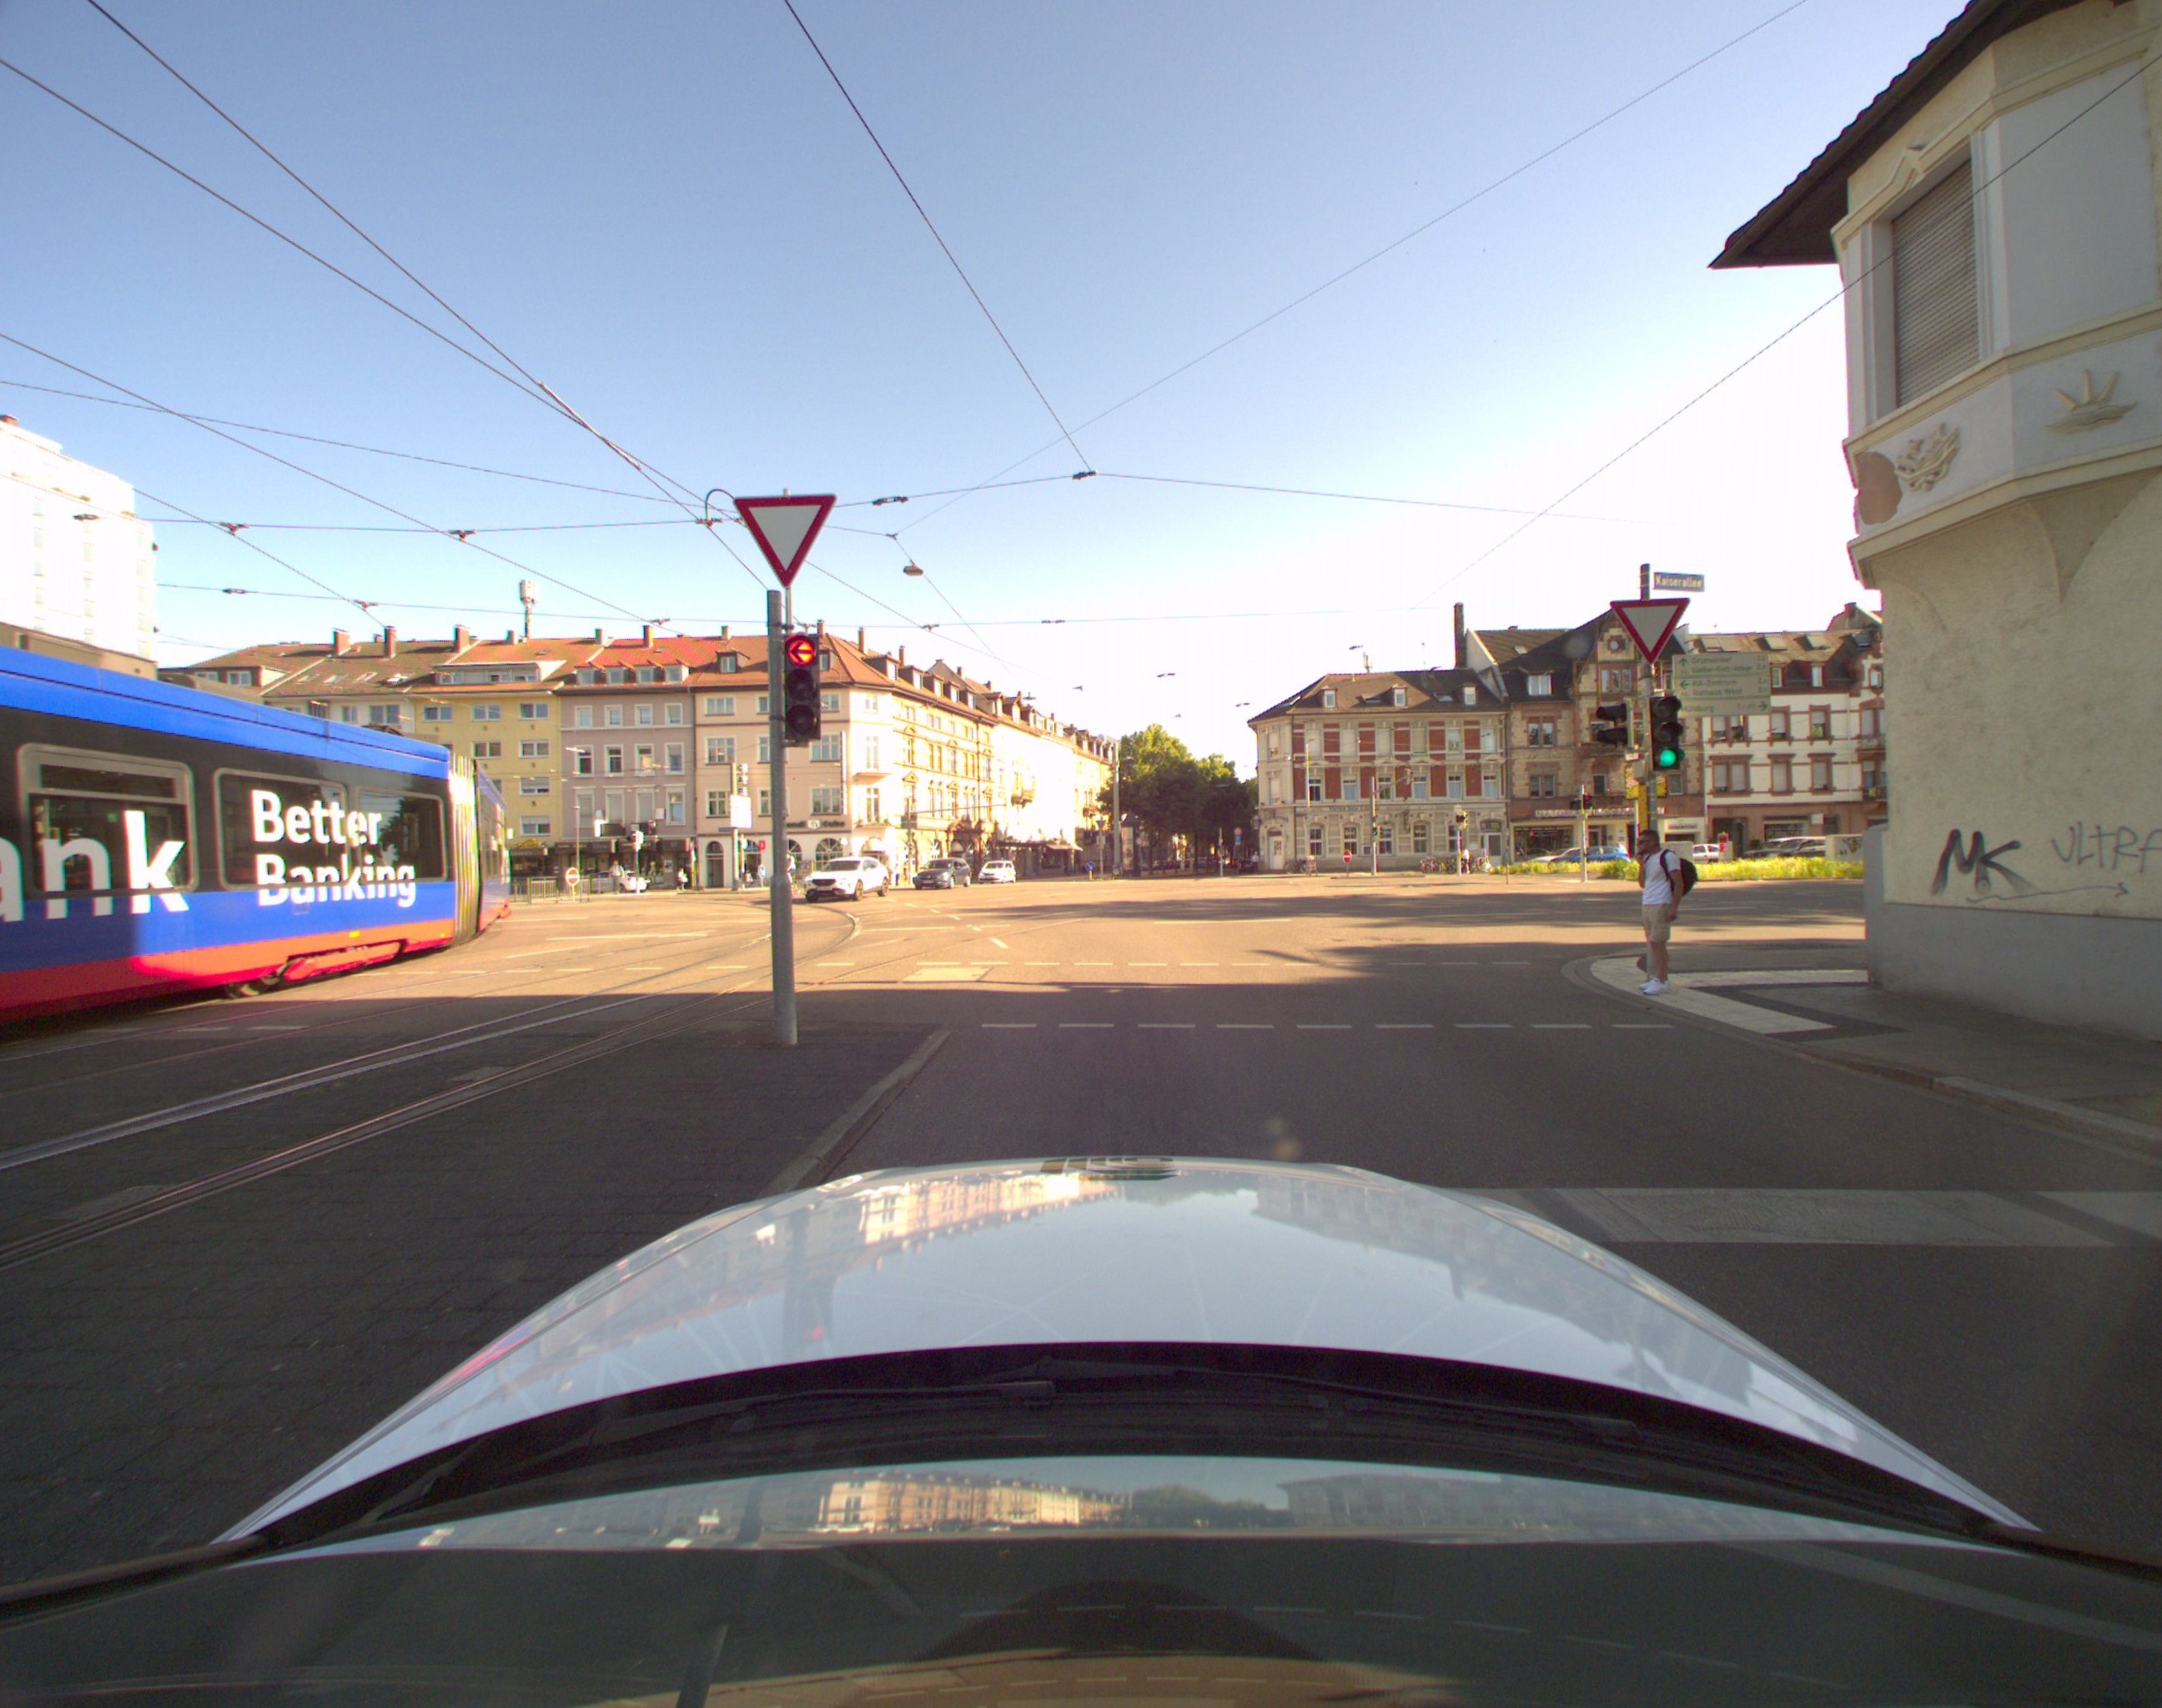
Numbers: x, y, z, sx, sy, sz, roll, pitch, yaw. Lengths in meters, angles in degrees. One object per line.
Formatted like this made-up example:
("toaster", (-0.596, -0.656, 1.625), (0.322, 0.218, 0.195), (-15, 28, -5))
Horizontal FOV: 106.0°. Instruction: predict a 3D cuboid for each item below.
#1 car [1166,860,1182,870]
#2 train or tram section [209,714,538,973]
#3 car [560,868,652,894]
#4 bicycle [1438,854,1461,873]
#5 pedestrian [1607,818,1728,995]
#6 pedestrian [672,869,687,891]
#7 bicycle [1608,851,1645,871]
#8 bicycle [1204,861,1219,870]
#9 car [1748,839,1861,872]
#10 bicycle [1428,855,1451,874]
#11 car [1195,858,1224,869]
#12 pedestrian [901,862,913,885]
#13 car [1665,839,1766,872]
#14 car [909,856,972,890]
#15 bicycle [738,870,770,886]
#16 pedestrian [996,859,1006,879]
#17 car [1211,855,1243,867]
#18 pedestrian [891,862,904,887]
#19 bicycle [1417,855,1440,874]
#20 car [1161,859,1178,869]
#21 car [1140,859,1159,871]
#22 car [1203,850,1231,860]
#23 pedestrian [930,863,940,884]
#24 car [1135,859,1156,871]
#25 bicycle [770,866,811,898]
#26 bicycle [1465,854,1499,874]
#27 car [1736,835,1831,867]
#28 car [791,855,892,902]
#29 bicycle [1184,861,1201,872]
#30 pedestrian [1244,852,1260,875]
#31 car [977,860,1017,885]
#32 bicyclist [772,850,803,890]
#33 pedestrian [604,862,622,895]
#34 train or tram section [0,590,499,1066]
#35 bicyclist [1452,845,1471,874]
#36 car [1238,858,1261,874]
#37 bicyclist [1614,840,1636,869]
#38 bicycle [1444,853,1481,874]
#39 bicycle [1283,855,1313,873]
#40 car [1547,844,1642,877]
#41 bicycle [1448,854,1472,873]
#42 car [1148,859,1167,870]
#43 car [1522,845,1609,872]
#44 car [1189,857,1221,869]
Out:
("car", (15.565, 1.883, 136.335), (1.978, 1.497, 4.051), (-2, 0, 16))
("train or tram section", (-13.838, -0.093, 17.314), (3.075, 3.613, 11.996), (-1, 0, -31))
("car", (-28.044, 1.595, 48.162), (4.196, 1.355, 1.999), (-1, 0, -1))
("bicycle", (23.848, 0.625, 52.747), (0.674, 1.191, 1.969), (-1, 0, 3))
("pedestrian", (6.165, 0.528, 8.577), (0.691, 1.740, 0.668), (-4, -1, -28))
("pedestrian", (-27.881, 1.812, 56.525), (0.656, 1.524, 0.694), (-1, 0, -4))
("bicycle", (33.974, 0.430, 50.707), (1.956, 1.191, 0.601), (-1, 0, -3))
("bicycle", (15.876, 1.361, 99.026), (0.586, 1.067, 1.928), (-1, 0, -34))
("car", (39.633, 0.069, 44.688), (4.456, 1.668, 1.955), (-1, 0, 1))
("bicycle", (23.199, 0.658, 52.762), (0.674, 1.191, 1.969), (-1, 0, 3))
("car", (20.206, 1.448, 127.997), (3.949, 1.545, 2.012), (-2, 0, 30))
("pedestrian", (-12.313, 1.373, 57.647), (0.626, 1.642, 0.554), (-2, 0, 15))
("car", (34.805, 0.094, 44.750), (3.973, 1.668, 1.955), (-1, 0, 1))
("car", (-6.704, 0.878, 39.287), (1.765, 1.497, 4.581), (-2, 0, 6))
("bicycle", (-22.976, 1.694, 57.280), (1.940, 1.067, 0.582), (-1, 0, -6))
("pedestrian", (-7.387, 1.391, 75.504), (0.676, 1.908, 0.636), (-2, 0, 18))
("car", (20.829, 1.013, 116.212), (3.948, 1.545, 2.013), (-2, 0, 32))
("pedestrian", (-12.663, 1.415, 56.279), (0.670, 1.642, 0.581), (-2, 0, 15))
("bicycle", (22.497, 0.648, 52.753), (0.674, 1.191, 1.969), (-1, 0, 3))
("car", (14.271, 1.682, 131.621), (1.978, 1.497, 4.051), (-2, 0, 16))
("car", (9.908, 1.586, 117.292), (1.978, 1.497, 4.051), (-2, 0, 16))
("car", (22.383, 0.186, 133.821), (3.949, 1.545, 2.012), (-2, 0, 30))
("pedestrian", (-11.616, 1.519, 64.823), (0.622, 1.642, 0.540), (-2, 0, 15))
("car", (8.937, 1.557, 112.826), (1.978, 1.497, 4.051), (-2, 0, 16))
("bicycle", (-11.525, 1.098, 32.363), (0.482, 1.166, 2.063), (-1, 0, 12))
("bicycle", (25.745, 0.641, 52.296), (1.961, 1.191, 0.677), (-1, 0, -10))
("car", (45.236, -0.187, 52.483), (4.388, 1.965, 1.955), (-1, 0, 1))
("car", (-8.371, 0.813, 28.930), (1.984, 1.497, 4.352), (-2, 0, 4))
("bicycle", (11.335, 1.286, 82.632), (0.586, 1.067, 1.928), (-1, 0, -34))
("pedestrian", (12.521, 0.673, 59.559), (0.719, 1.669, 0.931), (-1, 0, -27))
("car", (-5.421, 1.148, 52.941), (1.708, 1.497, 3.593), (-2, 0, 9))
("bicyclist", (-11.619, 0.635, 32.294), (0.710, 1.559, 0.989), (-1, 0, 11))
("pedestrian", (-23.837, 1.232, 41.499), (0.730, 1.627, 0.665), (-1, 0, -32))
("train or tram section", (-9.799, -0.164, 6.562), (3.055, 3.613, 12.460), (-1, 0, -10))
("bicyclist", (23.572, 0.349, 50.498), (0.869, 1.764, 0.602), (-1, 0, 4))
("car", (17.017, 1.151, 82.154), (1.978, 1.497, 4.051), (-2, 0, 16))
("bicyclist", (33.884, 0.022, 50.706), (0.901, 1.764, 0.601), (-1, 0, -3))
("bicycle", (23.641, 0.586, 50.494), (1.952, 1.191, 0.602), (-2, 0, 4))
("bicycle", (15.189, 0.719, 56.948), (1.950, 1.191, 0.547), (-2, 0, 6))
("car", (28.318, 0.340, 45.016), (3.973, 1.668, 1.955), (-1, 0, 1))
("bicycle", (24.521, 0.616, 52.724), (0.674, 1.191, 1.969), (-1, 0, 3))
("car", (11.523, 1.526, 122.493), (1.978, 1.497, 4.051), (-2, 0, 16))
("car", (28.510, 0.262, 48.009), (3.973, 1.412, 1.846), (-1, 0, 1))
("car", (17.533, 1.277, 115.414), (3.949, 1.545, 2.012), (-2, 0, 30))
